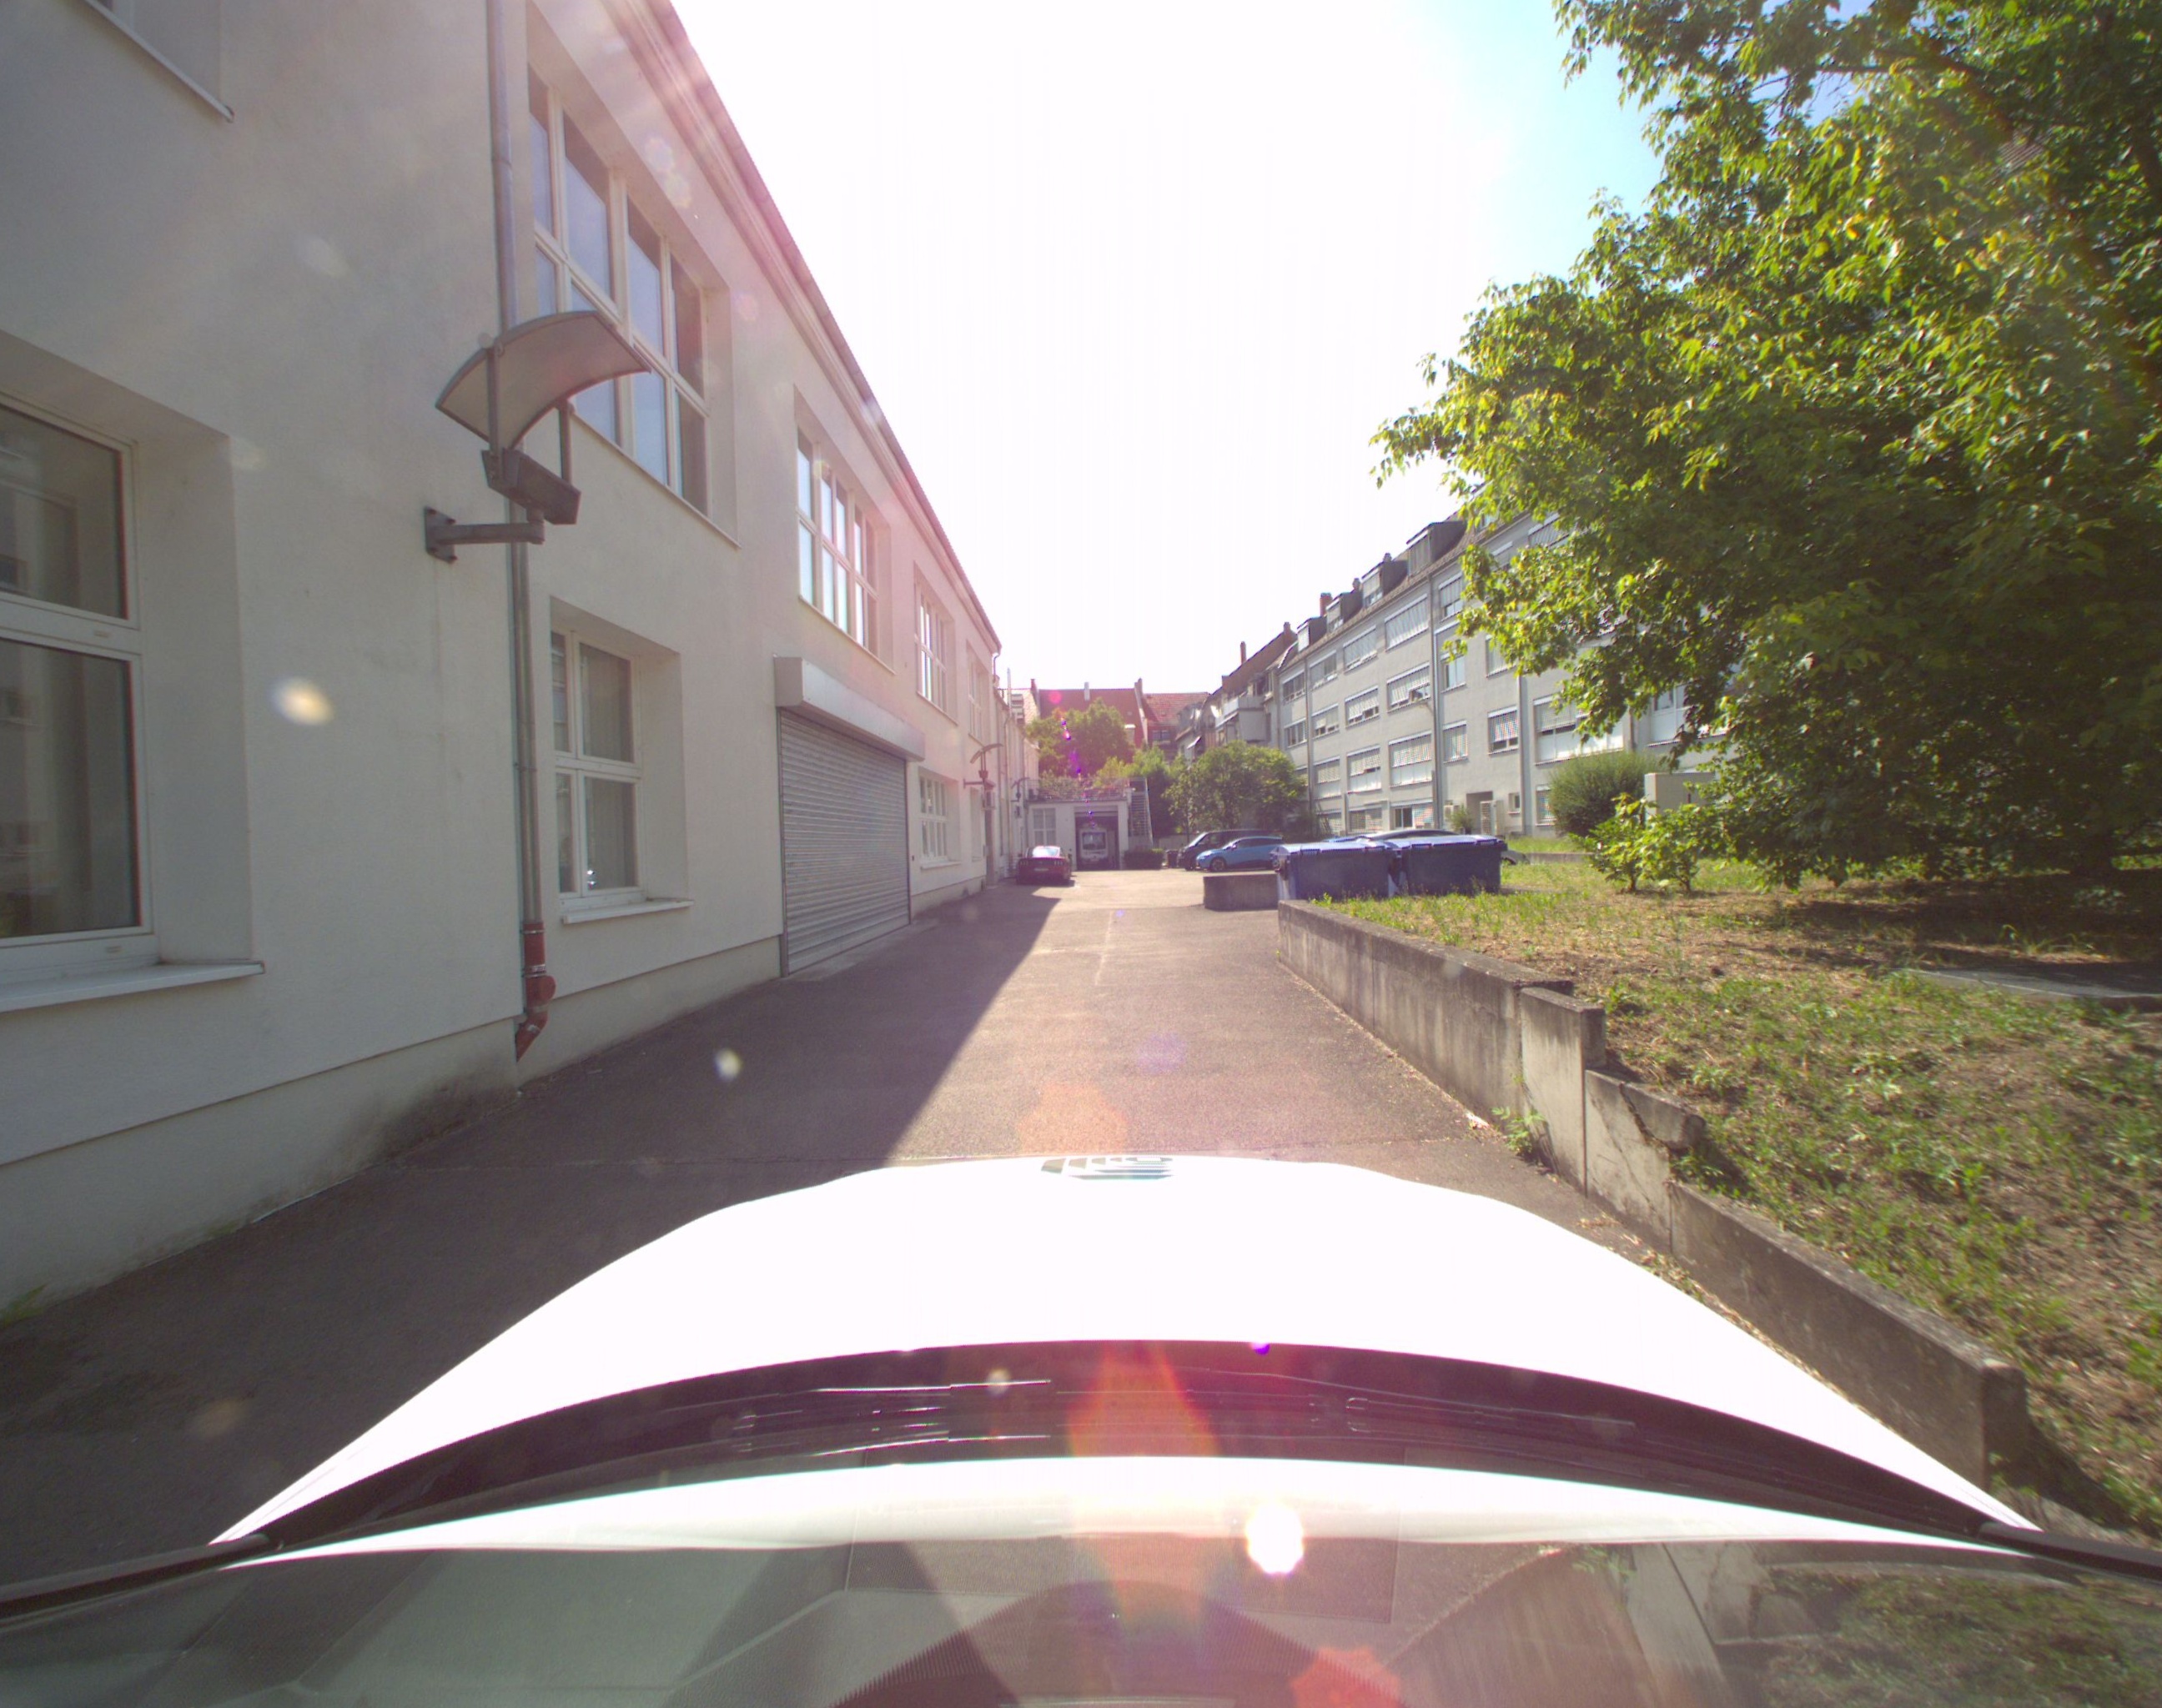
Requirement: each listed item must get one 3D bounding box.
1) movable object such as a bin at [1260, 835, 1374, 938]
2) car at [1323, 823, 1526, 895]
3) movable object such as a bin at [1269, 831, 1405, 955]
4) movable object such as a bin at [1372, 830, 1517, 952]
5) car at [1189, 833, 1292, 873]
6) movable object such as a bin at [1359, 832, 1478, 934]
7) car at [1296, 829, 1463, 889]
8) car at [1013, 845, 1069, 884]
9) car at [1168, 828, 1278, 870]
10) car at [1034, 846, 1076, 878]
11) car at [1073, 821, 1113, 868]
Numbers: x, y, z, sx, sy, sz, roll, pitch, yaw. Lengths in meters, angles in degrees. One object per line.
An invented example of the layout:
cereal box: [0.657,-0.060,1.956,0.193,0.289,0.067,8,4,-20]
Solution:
movable object such as a bin: [3.363,0.434,11.740,1.244,1.355,1.128,-3,1,-2]
car: [7.940,0.094,19.076,3.976,1.427,1.811,-3,1,-2]
movable object such as a bin: [3.045,0.452,9.848,1.242,1.319,1.143,-4,-1,3]
movable object such as a bin: [4.324,0.414,9.811,1.241,1.340,1.144,-2,1,4]
car: [7.211,-0.066,37.128,4.218,1.532,1.999,-3,1,-2]
movable object such as a bin: [4.765,0.383,11.590,1.152,1.336,1.141,-3,1,-2]
car: [8.158,0.118,22.524,3.973,1.394,1.689,-3,1,1]
car: [-1.418,0.360,30.254,1.845,1.319,4.001,-1,1,1]
car: [7.005,-0.273,40.383,4.954,1.767,2.088,-3,1,-11]
car: [-1.134,0.308,37.197,1.608,1.295,3.761,-3,1,2]
car: [0.783,-0.563,50.048,2.166,2.607,6.737,-3,0,2]
